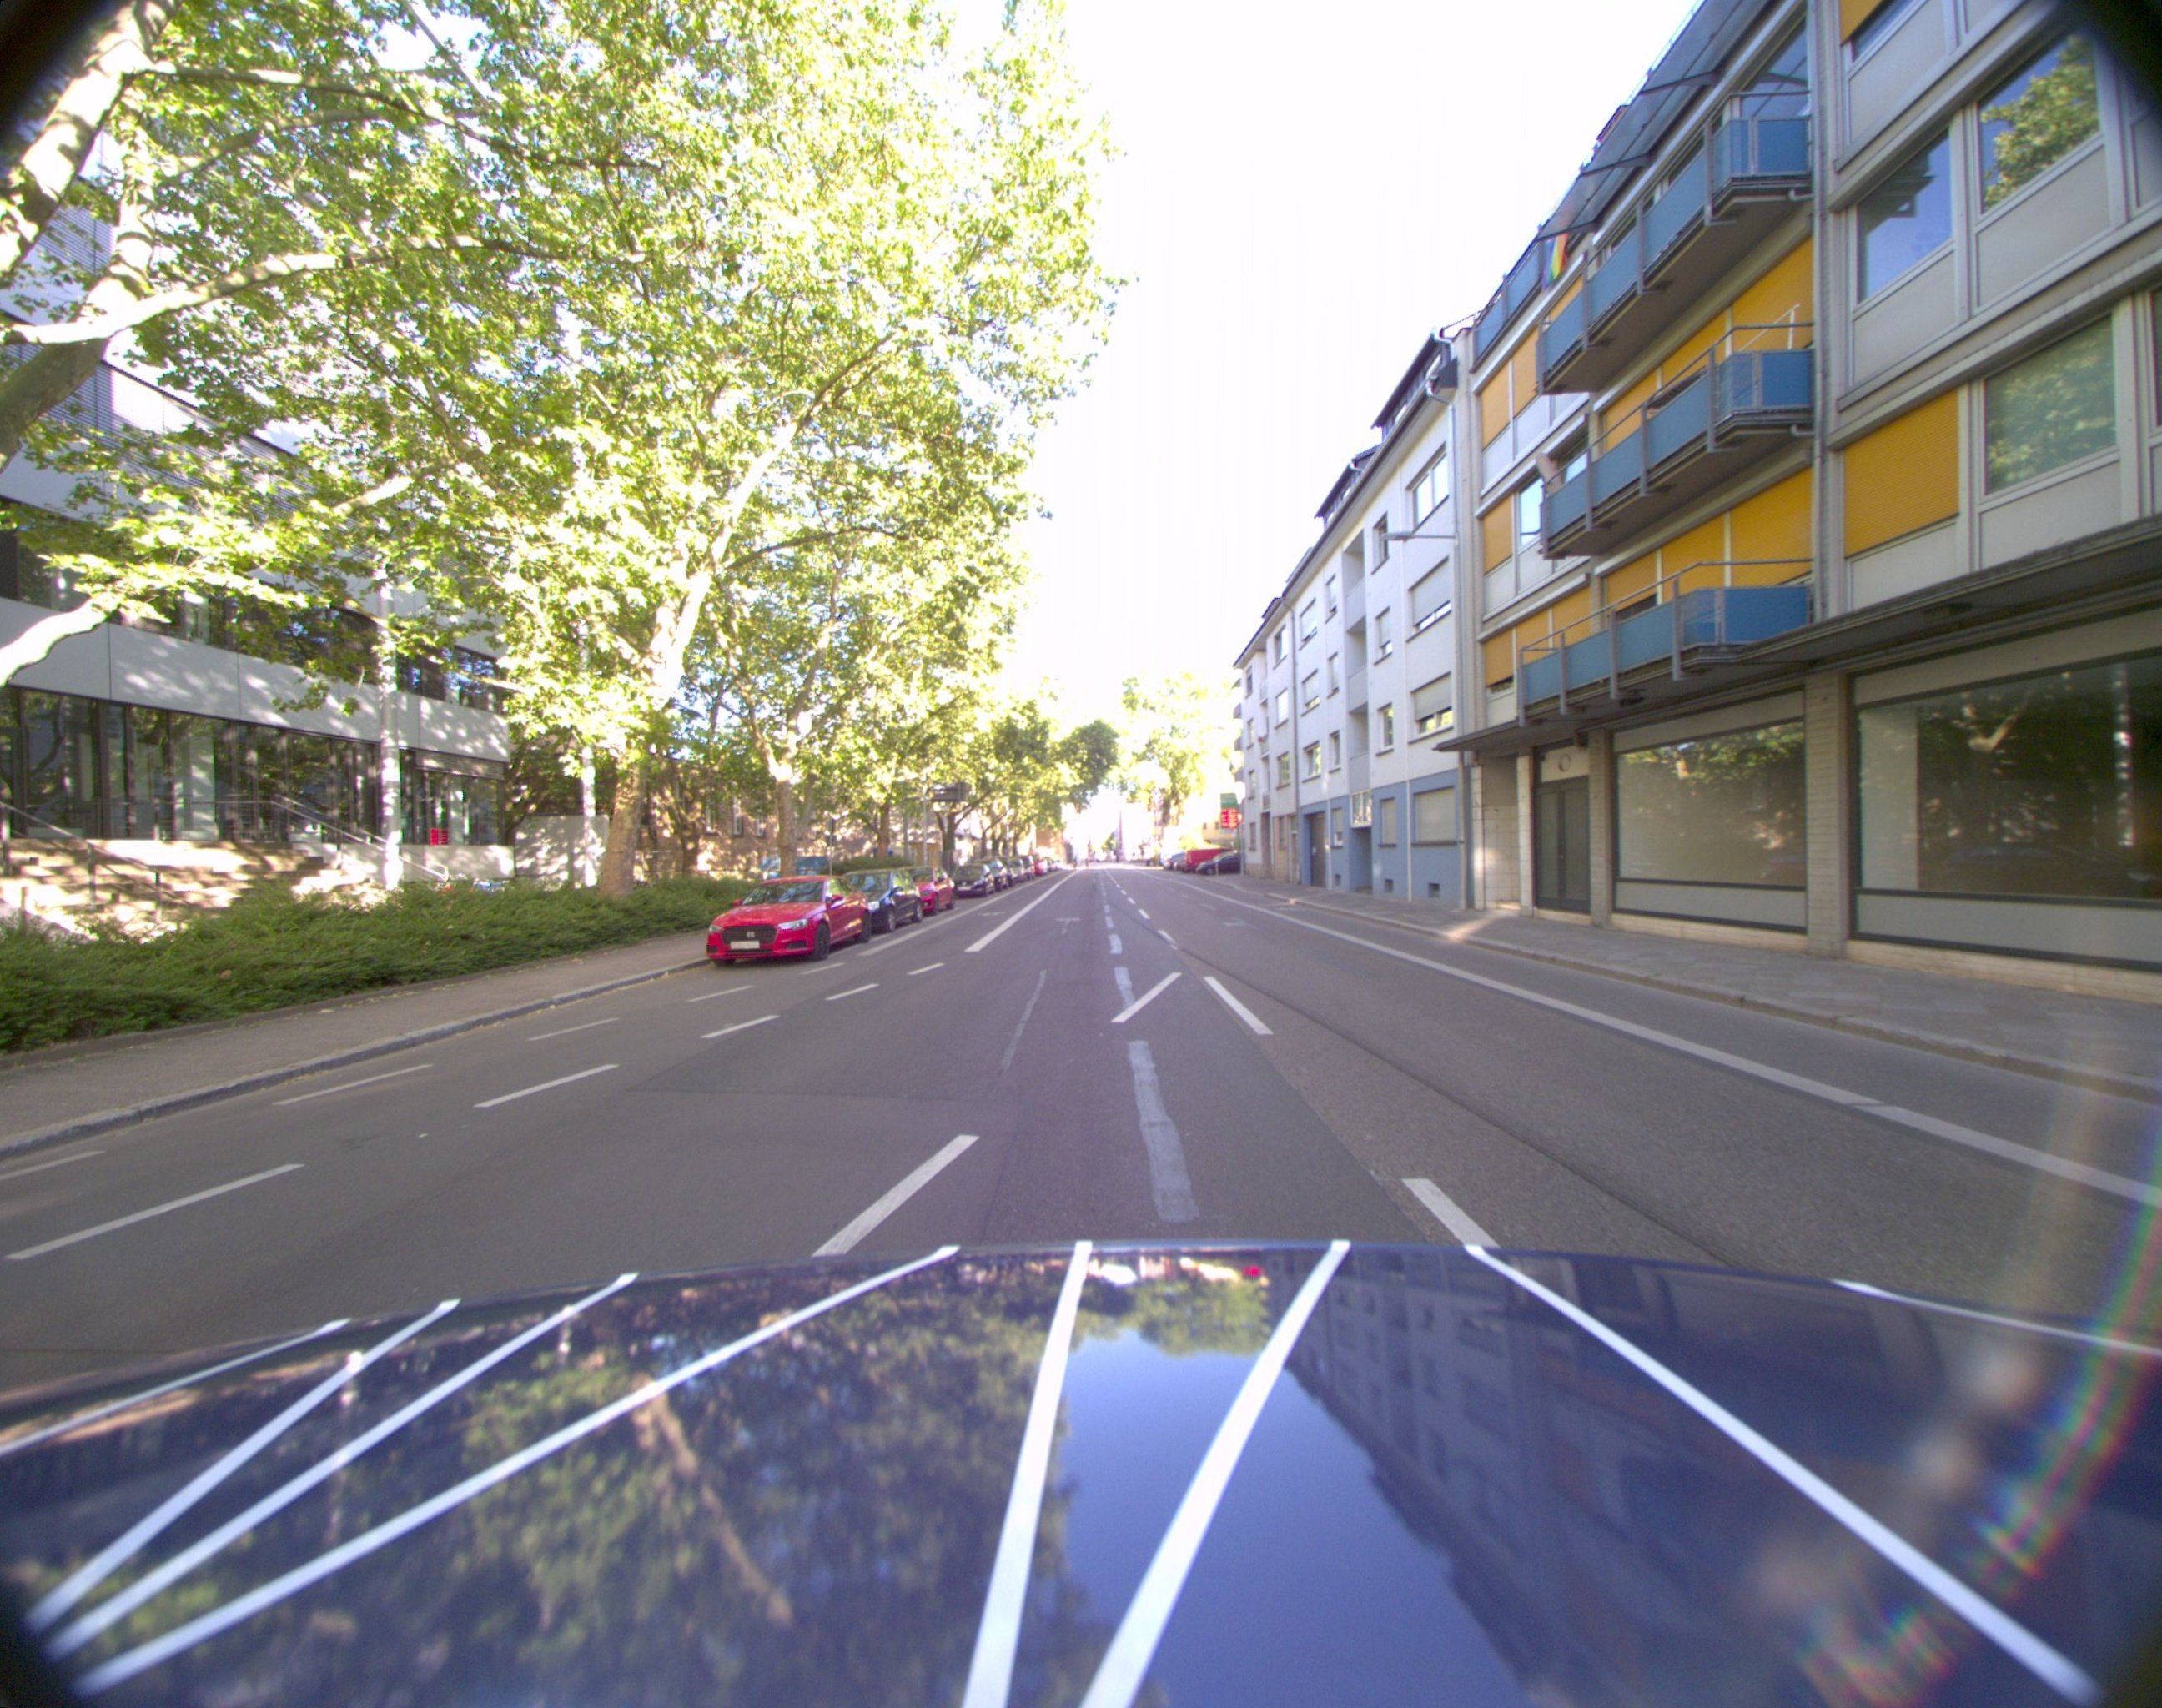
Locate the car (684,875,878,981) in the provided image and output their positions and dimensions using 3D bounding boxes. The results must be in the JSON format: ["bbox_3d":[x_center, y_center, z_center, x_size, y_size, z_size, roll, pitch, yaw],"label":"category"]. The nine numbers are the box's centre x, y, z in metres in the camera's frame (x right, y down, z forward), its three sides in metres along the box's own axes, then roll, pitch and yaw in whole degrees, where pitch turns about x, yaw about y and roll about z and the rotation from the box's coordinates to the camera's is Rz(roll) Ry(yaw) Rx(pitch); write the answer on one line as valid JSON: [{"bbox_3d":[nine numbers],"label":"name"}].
[{"bbox_3d":[-5.146,1.195,13.717,1.818,1.405,4.163,-3,0,0],"label":"car"}]

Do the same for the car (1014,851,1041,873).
[{"bbox_3d":[-4.604,0.702,66.090,2.042,1.745,4.552,-3,0,0],"label":"car"}]

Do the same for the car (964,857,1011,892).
[{"bbox_3d":[-4.611,0.981,38.129,1.790,1.544,4.163,-3,0,0],"label":"car"}]

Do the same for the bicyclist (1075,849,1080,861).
[{"bbox_3d":[-0.493,0.148,104.795,0.718,1.573,0.936,-2,1,1],"label":"bicyclist"}]

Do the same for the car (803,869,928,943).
[{"bbox_3d":[-5.091,1.173,18.573,1.818,1.405,4.163,-3,0,0],"label":"car"}]

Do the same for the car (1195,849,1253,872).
[{"bbox_3d":[10.716,0.483,57.141,3.996,1.494,1.761,-2,1,2],"label":"car"}]

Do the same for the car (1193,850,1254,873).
[{"bbox_3d":[10.242,0.550,54.793,3.996,1.449,1.761,-2,1,2],"label":"car"}]

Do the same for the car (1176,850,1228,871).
[{"bbox_3d":[9.966,0.529,62.843,3.996,1.494,1.761,-2,1,2],"label":"car"}]

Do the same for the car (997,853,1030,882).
[{"bbox_3d":[-4.457,0.855,50.701,1.790,1.745,4.552,-3,0,0],"label":"car"}]

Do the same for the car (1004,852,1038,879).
[{"bbox_3d":[-4.329,0.799,55.660,2.042,1.745,4.552,-3,0,0],"label":"car"}]

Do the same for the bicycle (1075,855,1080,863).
[{"bbox_3d":[-0.481,0.711,104.700,0.717,1.052,2.485,-2,1,1],"label":"bicycle"}]

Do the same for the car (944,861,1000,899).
[{"bbox_3d":[-4.712,1.080,33.383,1.790,1.451,4.163,-3,0,0],"label":"car"}]

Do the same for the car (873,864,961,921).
[{"bbox_3d":[-5.039,1.127,23.857,1.818,1.475,4.163,-3,0,0],"label":"car"}]

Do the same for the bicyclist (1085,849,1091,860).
[{"bbox_3d":[1.008,0.046,105.955,0.718,1.573,0.936,-2,1,1],"label":"bicyclist"}]

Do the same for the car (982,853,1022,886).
[{"bbox_3d":[-4.535,0.871,44.146,1.790,1.745,4.345,-3,0,0],"label":"car"}]

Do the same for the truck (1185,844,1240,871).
[{"bbox_3d":[10.356,0.249,59.990,3.996,1.925,1.761,-2,1,2],"label":"truck"}]

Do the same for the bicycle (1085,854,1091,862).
[{"bbox_3d":[1.006,0.614,105.923,0.717,1.052,2.485,-2,1,1],"label":"bicycle"}]
